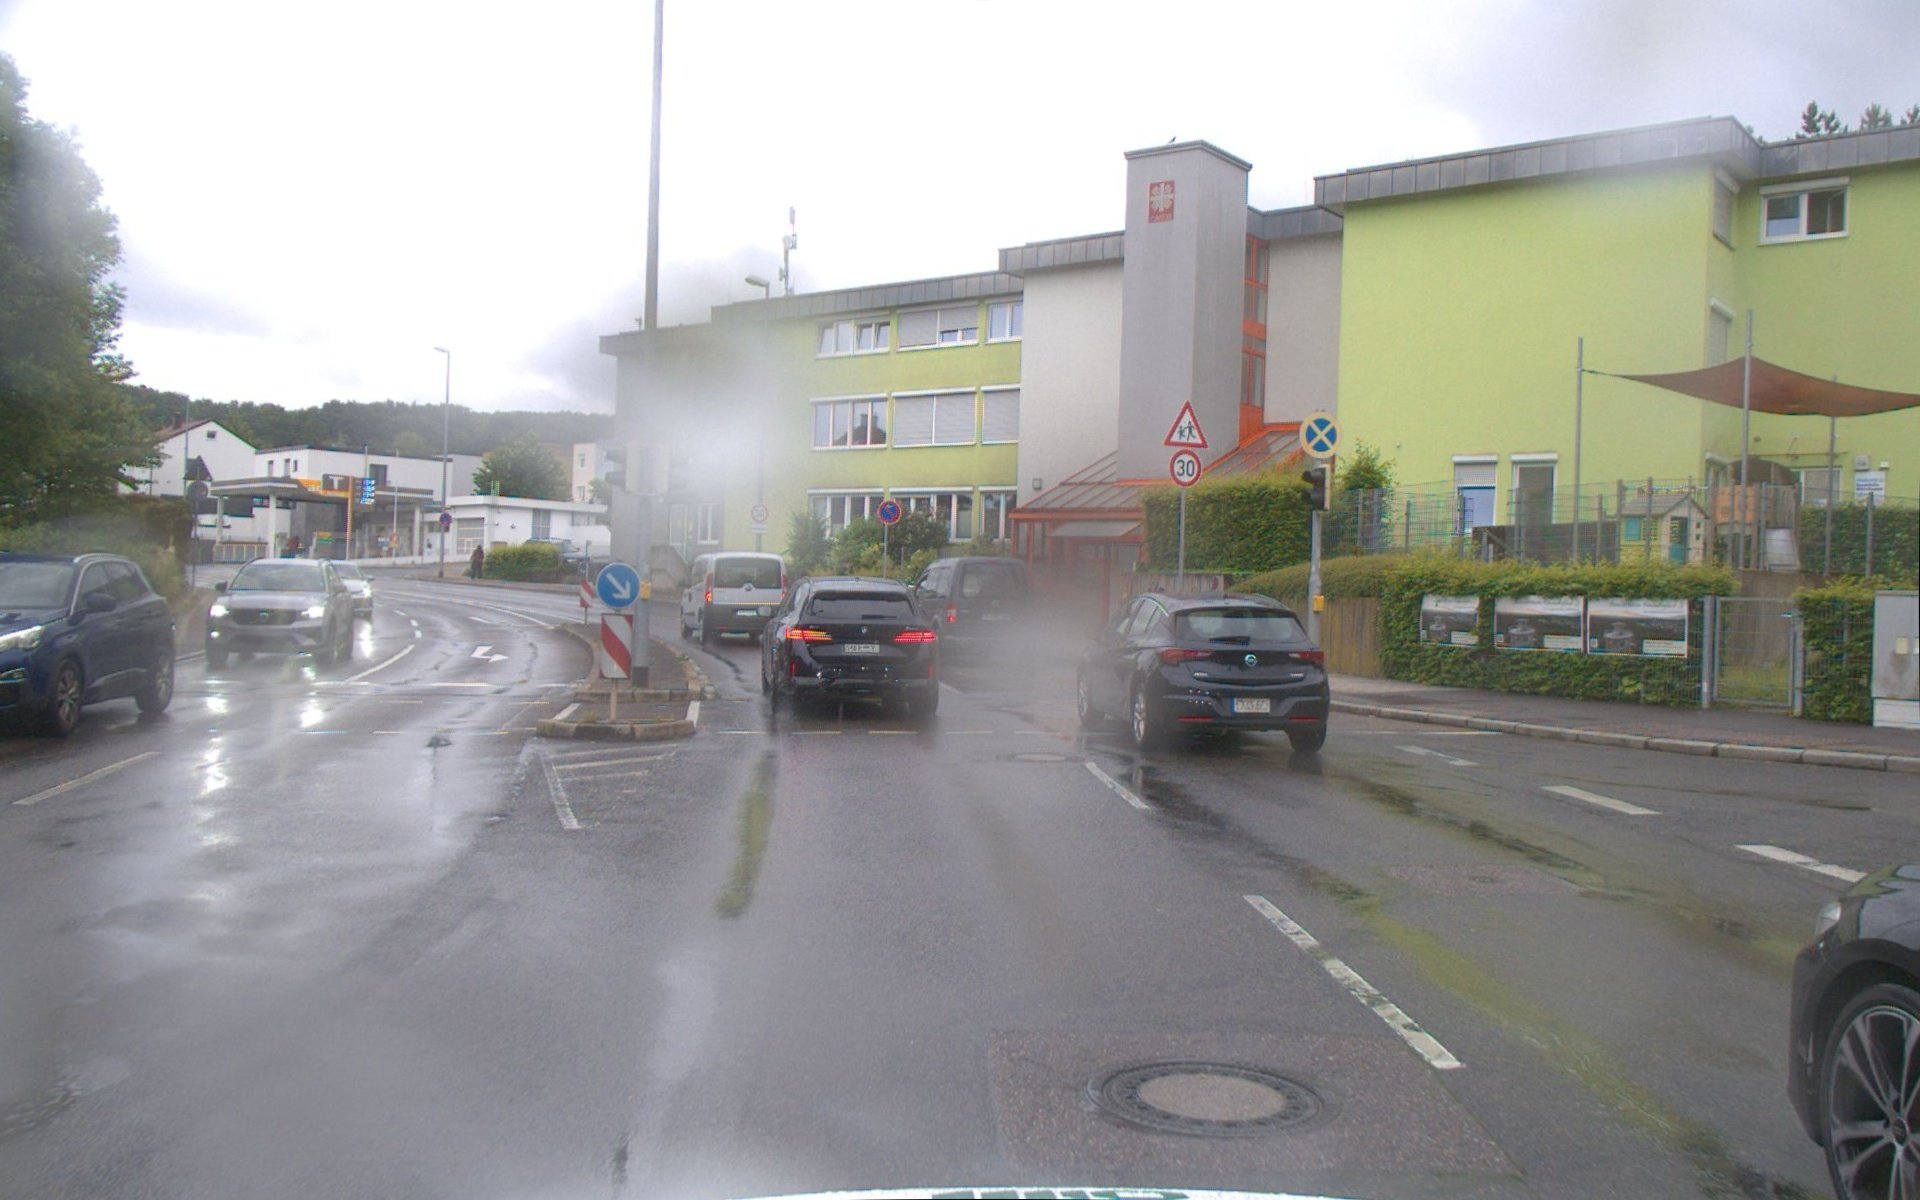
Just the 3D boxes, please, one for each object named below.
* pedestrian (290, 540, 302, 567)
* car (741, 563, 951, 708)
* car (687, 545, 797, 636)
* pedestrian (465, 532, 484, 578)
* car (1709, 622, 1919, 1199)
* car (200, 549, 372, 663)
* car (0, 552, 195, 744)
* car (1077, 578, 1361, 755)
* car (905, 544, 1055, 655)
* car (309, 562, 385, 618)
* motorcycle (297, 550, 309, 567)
[{"bbox_3d":[-41.687,-2.906,103.790,0.603,1.685,0.580,1,-1,-30],"label":"pedestrian"},{"bbox_3d":[-1.446,0.386,19.393,1.958,1.510,3.989,1,0,-11],"label":"car"},{"bbox_3d":[-4.634,-0.184,34.671,1.959,1.768,3.988,1,0,-12],"label":"car"},{"bbox_3d":[-22.348,-2.068,76.063,0.608,2.049,0.709,1,-1,-36],"label":"pedestrian"},{"bbox_3d":[3.075,0.793,2.331,1.828,1.449,4.738,1,0,-1],"label":"car"},{"bbox_3d":[-10.947,0.100,27.153,1.849,1.707,4.219,1,0,-12],"label":"car"},{"bbox_3d":[-8.868,0.388,15.657,1.830,1.581,4.436,0,0,-10],"label":"car"},{"bbox_3d":[2.433,0.568,16.560,1.723,1.474,3.994,1,2,-8],"label":"car"},{"bbox_3d":[0.271,-0.006,29.218,1.806,1.798,3.988,1,0,-12],"label":"car"},{"bbox_3d":[-17.340,-0.281,46.686,1.654,1.475,4.652,1,0,-25],"label":"car"},{"bbox_3d":[-41.264,-2.609,103.891,0.457,1.074,1.376,1,0,-30],"label":"motorcycle"}]
